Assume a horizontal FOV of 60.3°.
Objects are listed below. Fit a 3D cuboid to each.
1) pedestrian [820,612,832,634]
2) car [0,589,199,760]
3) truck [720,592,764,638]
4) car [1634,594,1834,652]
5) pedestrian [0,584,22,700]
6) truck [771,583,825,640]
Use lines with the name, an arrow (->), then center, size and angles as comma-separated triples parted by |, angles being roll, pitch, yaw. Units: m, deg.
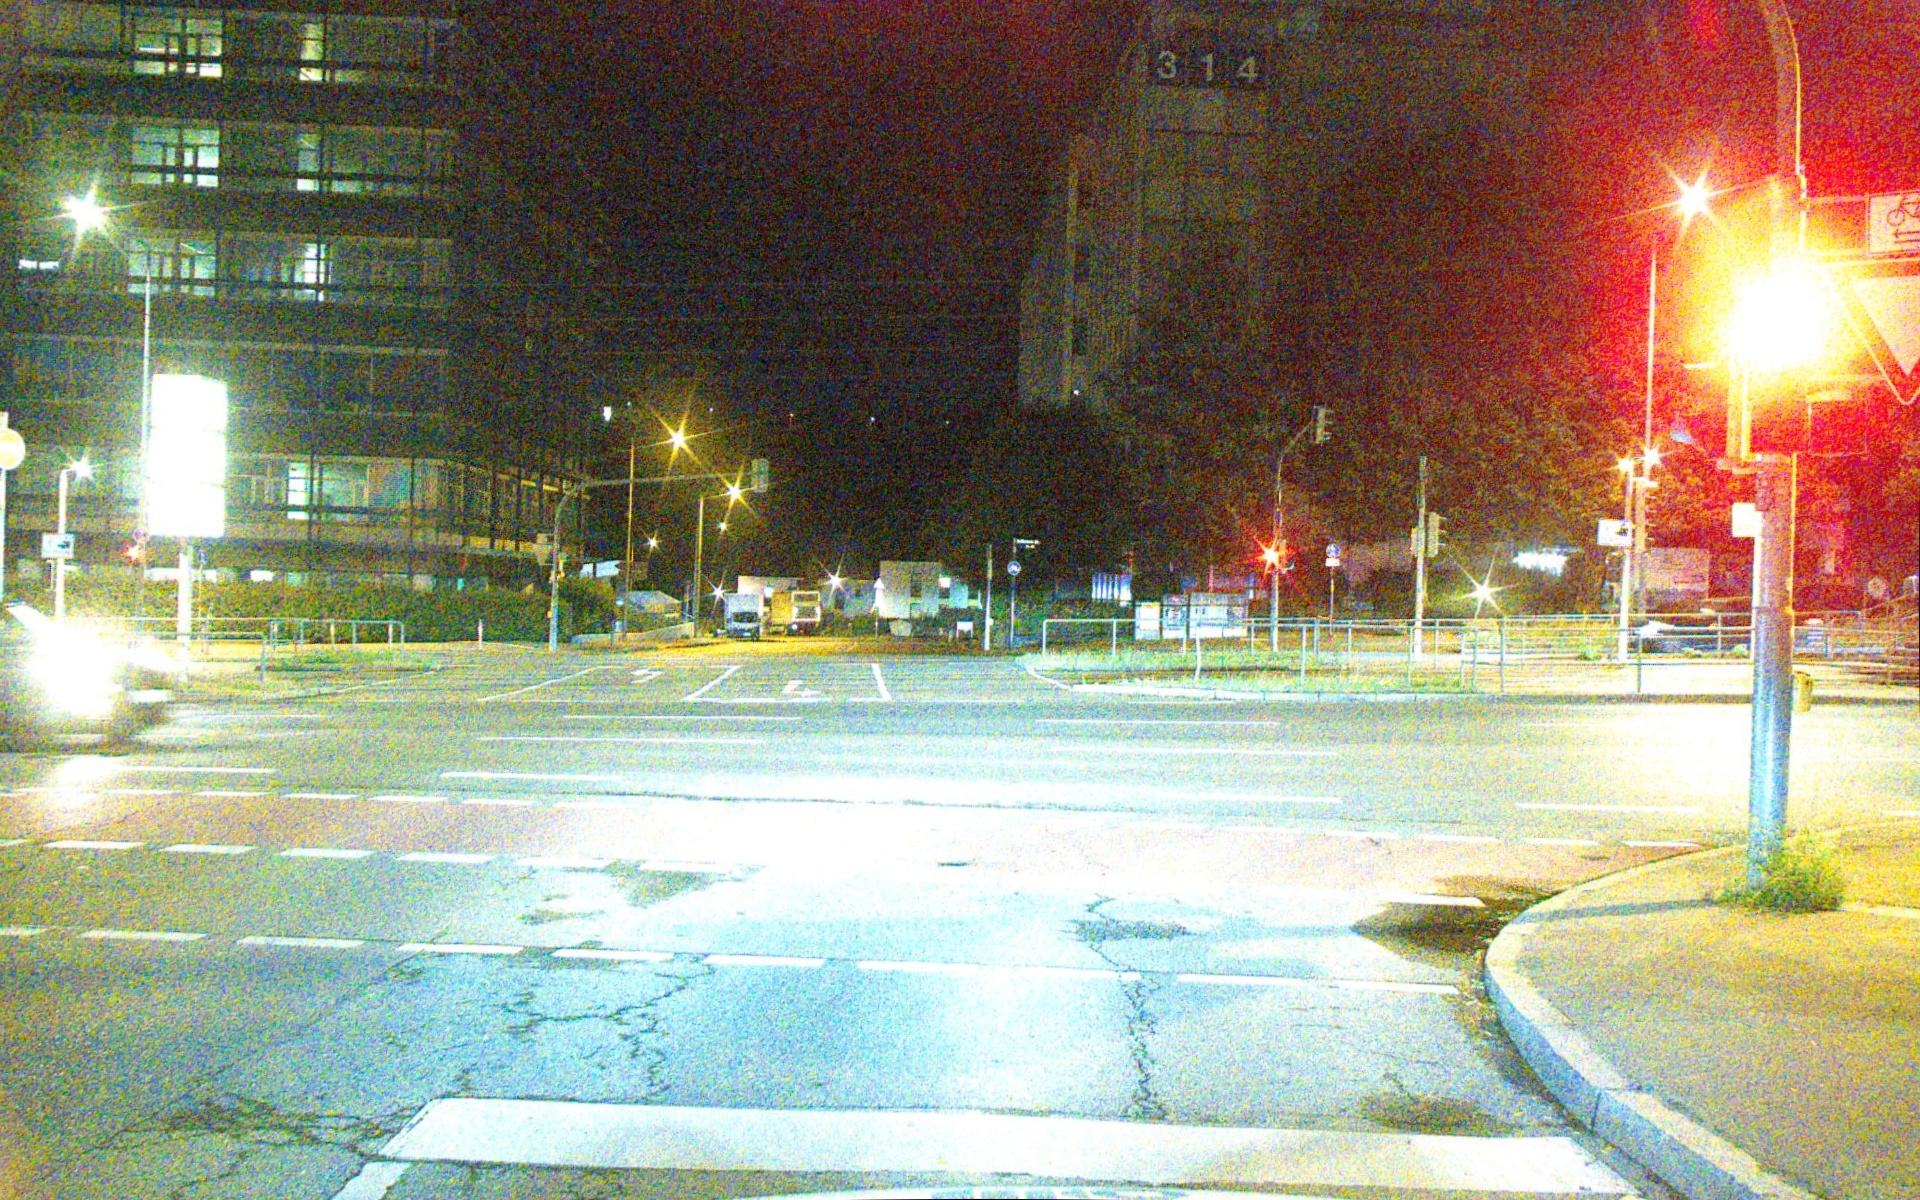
pedestrian -> -11.927, 2.016, 147.257 | 0.836, 1.945, 1.001 | 2, -1, -18
car -> -9.676, 0.699, 16.009 | 3.797, 1.499, 1.659 | -1, 3, 0
truck -> -15.784, 1.093, 119.433 | 2.377, 3.143, 6.414 | 2, -1, -14
car -> 19.715, 0.599, 42.271 | 4.237, 1.412, 1.843 | -1, -1, 2
pedestrian -> -14.715, 0.624, 24.920 | 0.663, 1.752, 0.706 | 1, -1, 23
truck -> -14.623, 1.019, 148.607 | 3.307, 4.927, 7.868 | 2, -1, -17
